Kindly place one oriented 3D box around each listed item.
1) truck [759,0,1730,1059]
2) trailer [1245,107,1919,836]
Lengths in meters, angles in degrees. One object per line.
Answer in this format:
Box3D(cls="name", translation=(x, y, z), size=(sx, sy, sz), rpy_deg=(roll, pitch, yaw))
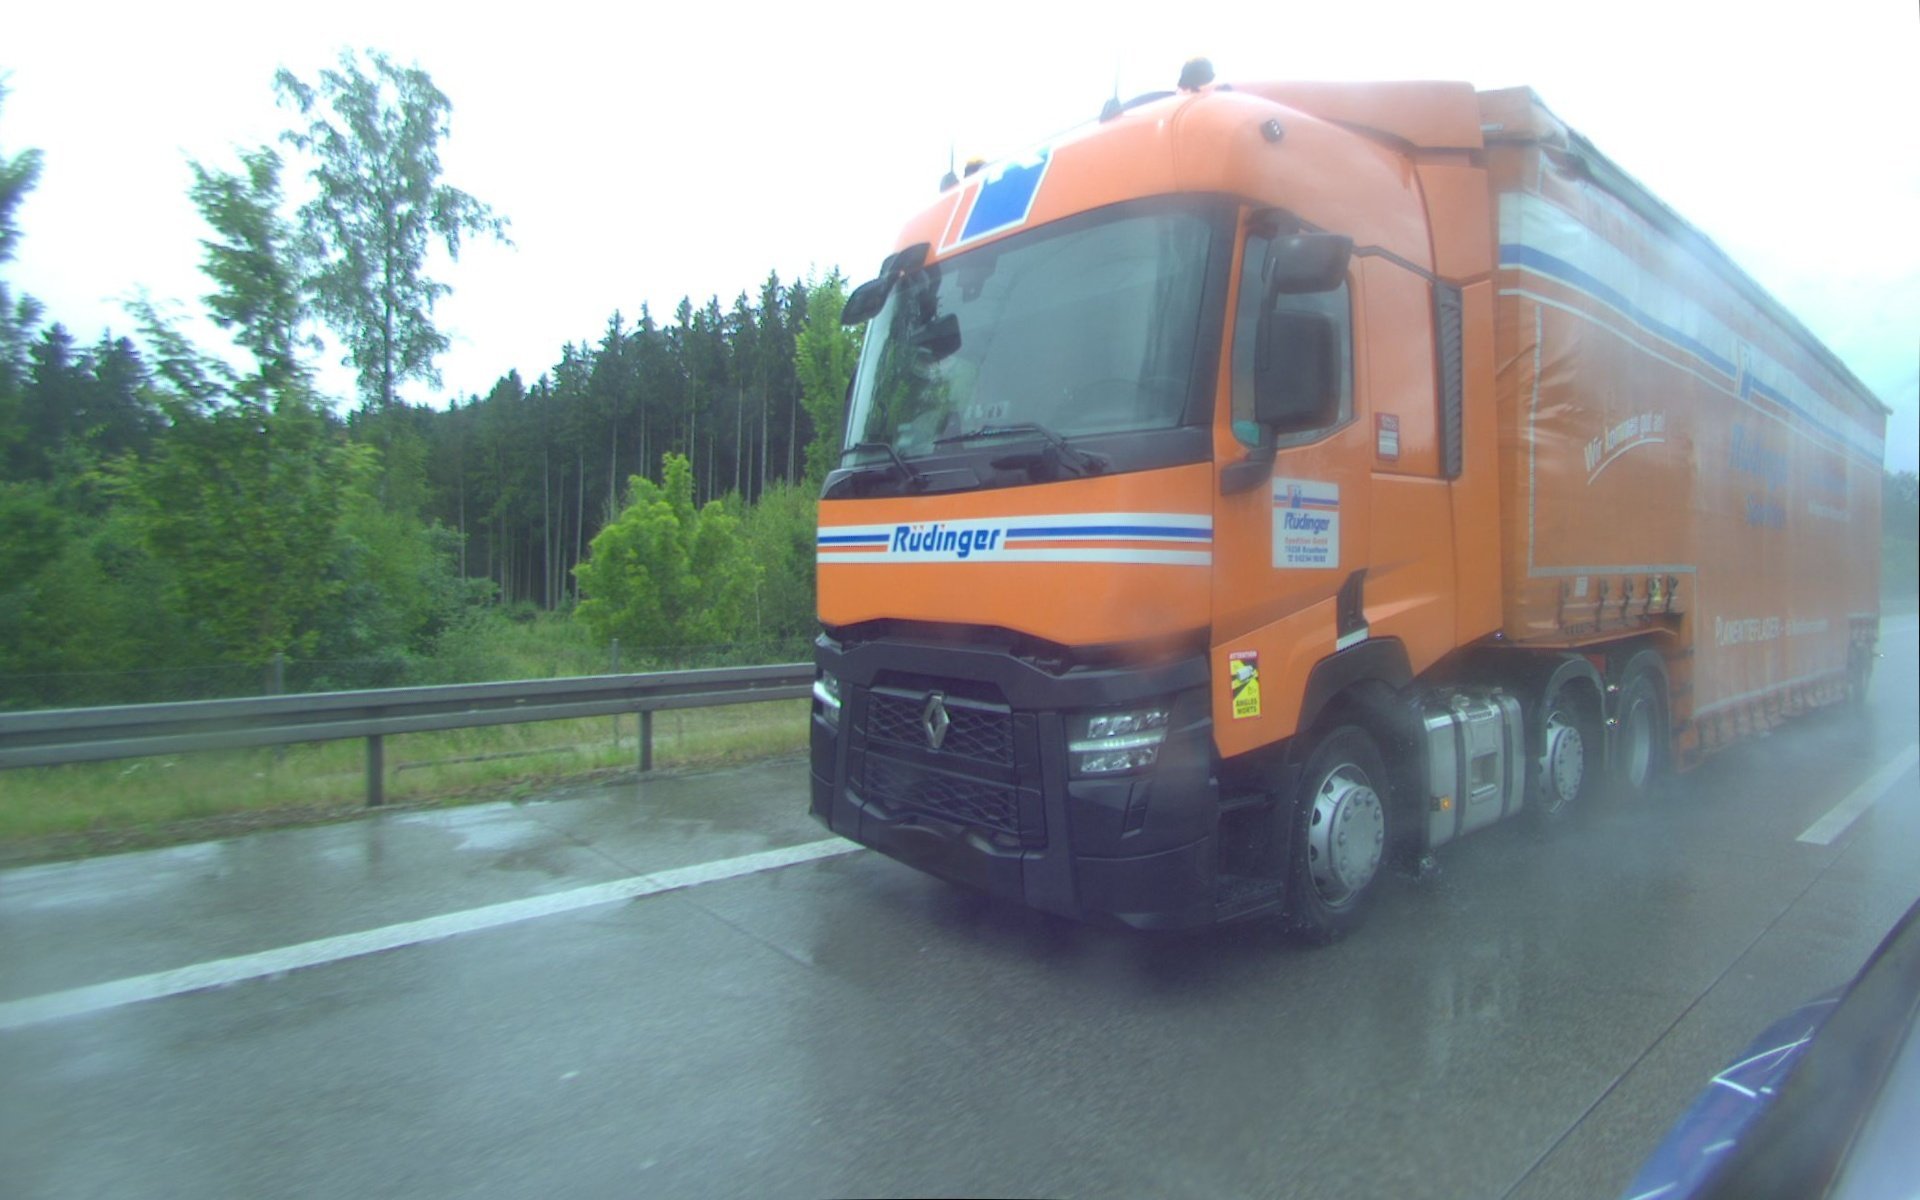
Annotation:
Box3D(cls="truck", translation=(1.930, -0.782, 5.784), size=(5.342, 4.138, 2.765), rpy_deg=(0, 3, -41))
Box3D(cls="trailer", translation=(8.040, -0.841, 11.126), size=(12.778, 4.207, 2.800), rpy_deg=(-1, 3, -41))
